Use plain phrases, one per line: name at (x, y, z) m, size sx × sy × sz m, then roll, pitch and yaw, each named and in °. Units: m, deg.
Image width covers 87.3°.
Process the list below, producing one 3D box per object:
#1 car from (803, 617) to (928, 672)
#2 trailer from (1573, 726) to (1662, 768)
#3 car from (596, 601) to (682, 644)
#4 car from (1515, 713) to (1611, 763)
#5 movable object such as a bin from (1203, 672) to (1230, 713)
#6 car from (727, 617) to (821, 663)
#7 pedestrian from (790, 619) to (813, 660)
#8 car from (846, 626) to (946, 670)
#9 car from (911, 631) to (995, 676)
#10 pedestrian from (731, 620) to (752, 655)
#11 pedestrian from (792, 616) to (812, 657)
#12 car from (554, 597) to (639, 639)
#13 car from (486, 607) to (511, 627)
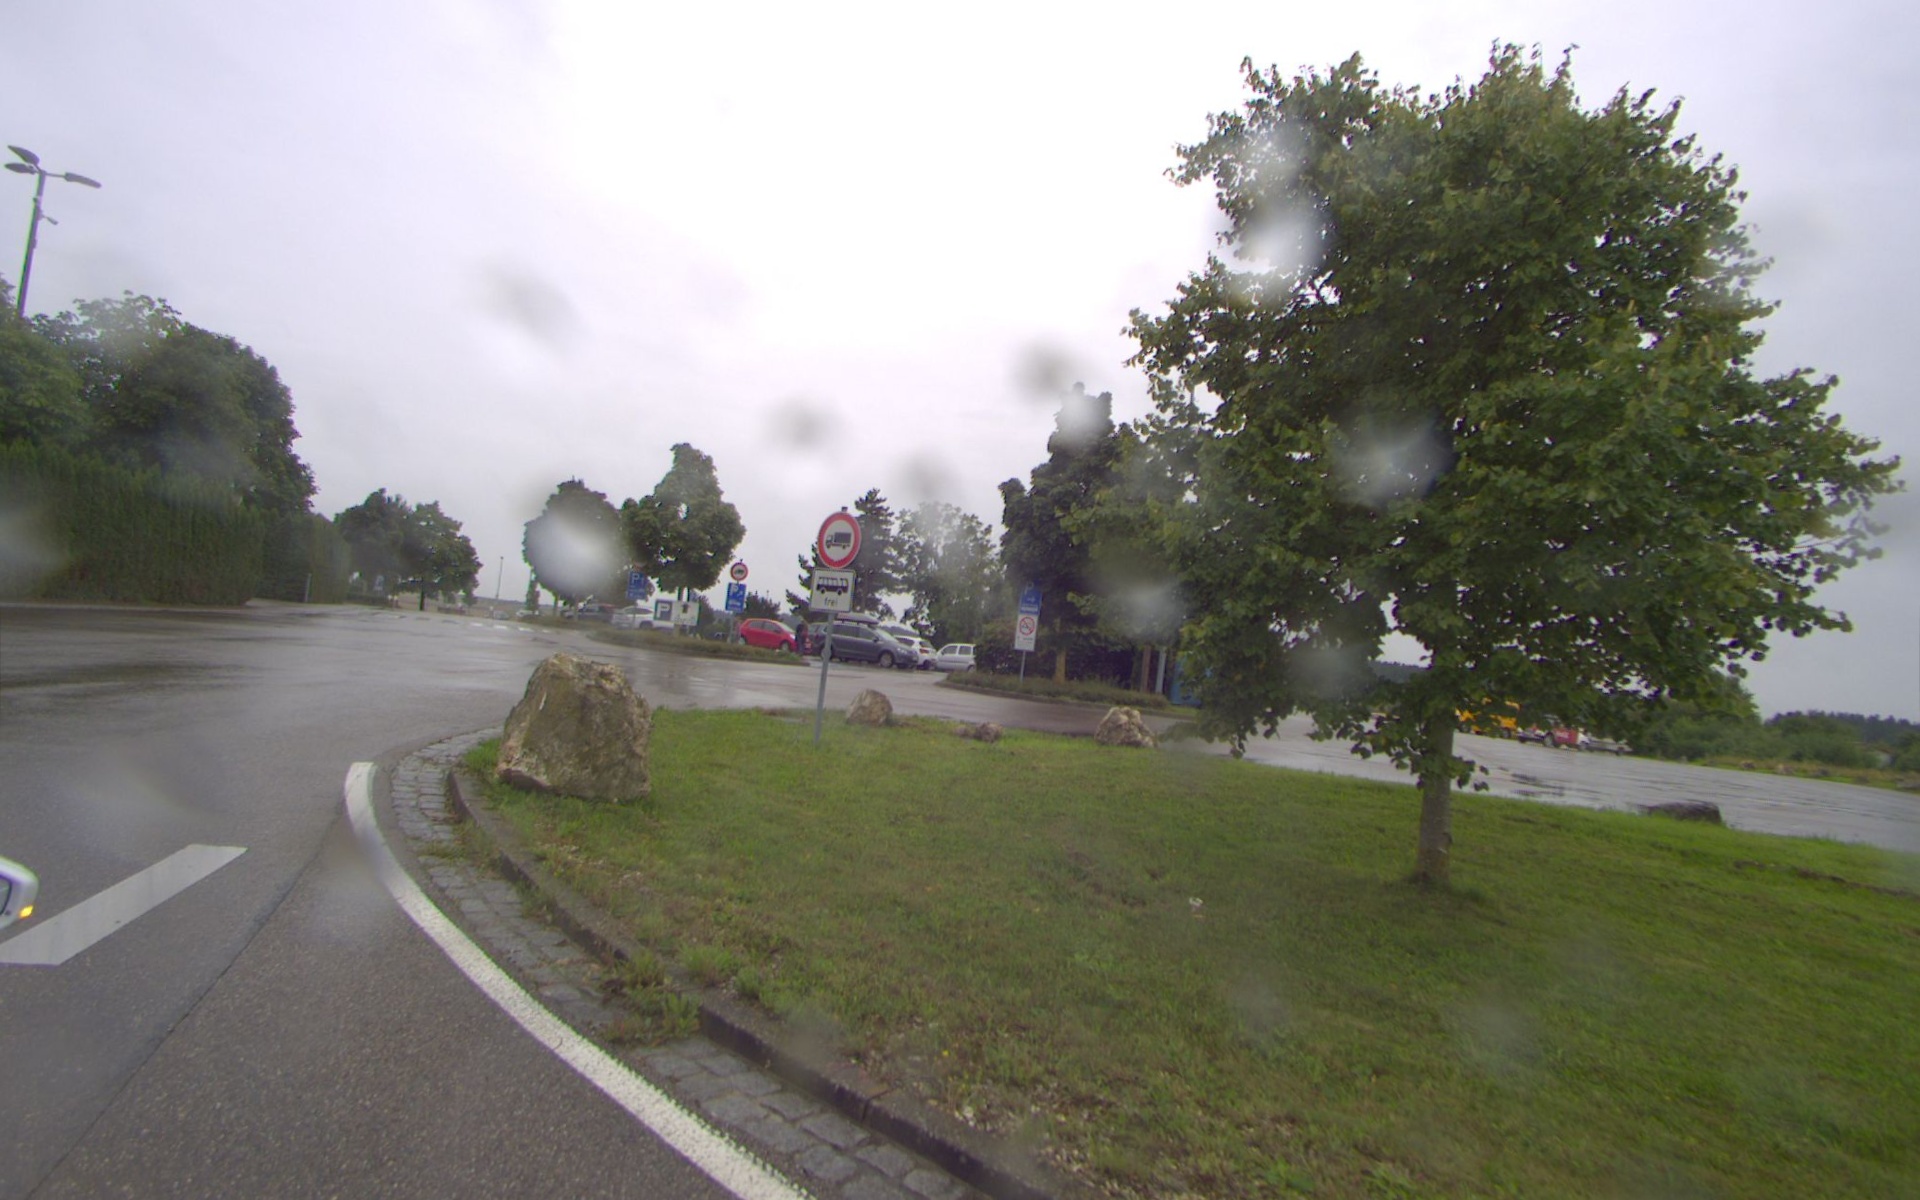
car at (-4.090, 1.925, 43.499) m, size 4.859 × 1.813 × 2.001 m, roll 5°, pitch -2°, yaw 20°
trailer at (32.149, 7.203, 49.195) m, size 3.948 × 1.549 × 1.693 m, roll 8°, pitch -3°, yaw -23°
car at (-18.110, 1.273, 56.708) m, size 4.287 × 1.881 × 1.723 m, roll 5°, pitch -4°, yaw 20°
car at (28.552, 6.529, 47.657) m, size 3.949 × 1.796 × 1.820 m, roll 9°, pitch -4°, yaw -23°
movable object such as a bin at (6.647, 2.390, 26.041) m, size 0.464 × 0.960 × 0.435 m, roll 7°, pitch -1°, yaw -2°
car at (-8.966, 1.932, 48.576) m, size 3.949 × 1.813 × 1.852 m, roll 5°, pitch -2°, yaw 20°
pedestrian at (-6.717, 1.683, 42.761) m, size 0.703 × 1.656 × 0.647 m, roll 6°, pitch -3°, yaw -1°
car at (-2.918, 2.185, 45.891) m, size 4.121 × 1.535 × 1.743 m, roll 5°, pitch -2°, yaw 22°
car at (-0.353, 2.835, 53.640) m, size 3.949 × 1.881 × 1.854 m, roll 5°, pitch -4°, yaw 20°
pedestrian at (-9.198, 1.593, 42.413) m, size 0.636 × 1.376 × 0.451 m, roll 8°, pitch -4°, yaw -20°
pedestrian at (-7.077, 1.622, 44.979) m, size 0.600 × 1.742 × 0.684 m, roll 7°, pitch -4°, yaw -4°
car at (-19.476, 0.983, 53.949) m, size 3.952 × 1.733 × 1.723 m, roll 5°, pitch -4°, yaw 20°
car at (-55.019, 2.069, 119.878) m, size 1.682 × 2.034 × 3.997 m, roll 8°, pitch -5°, yaw -13°
